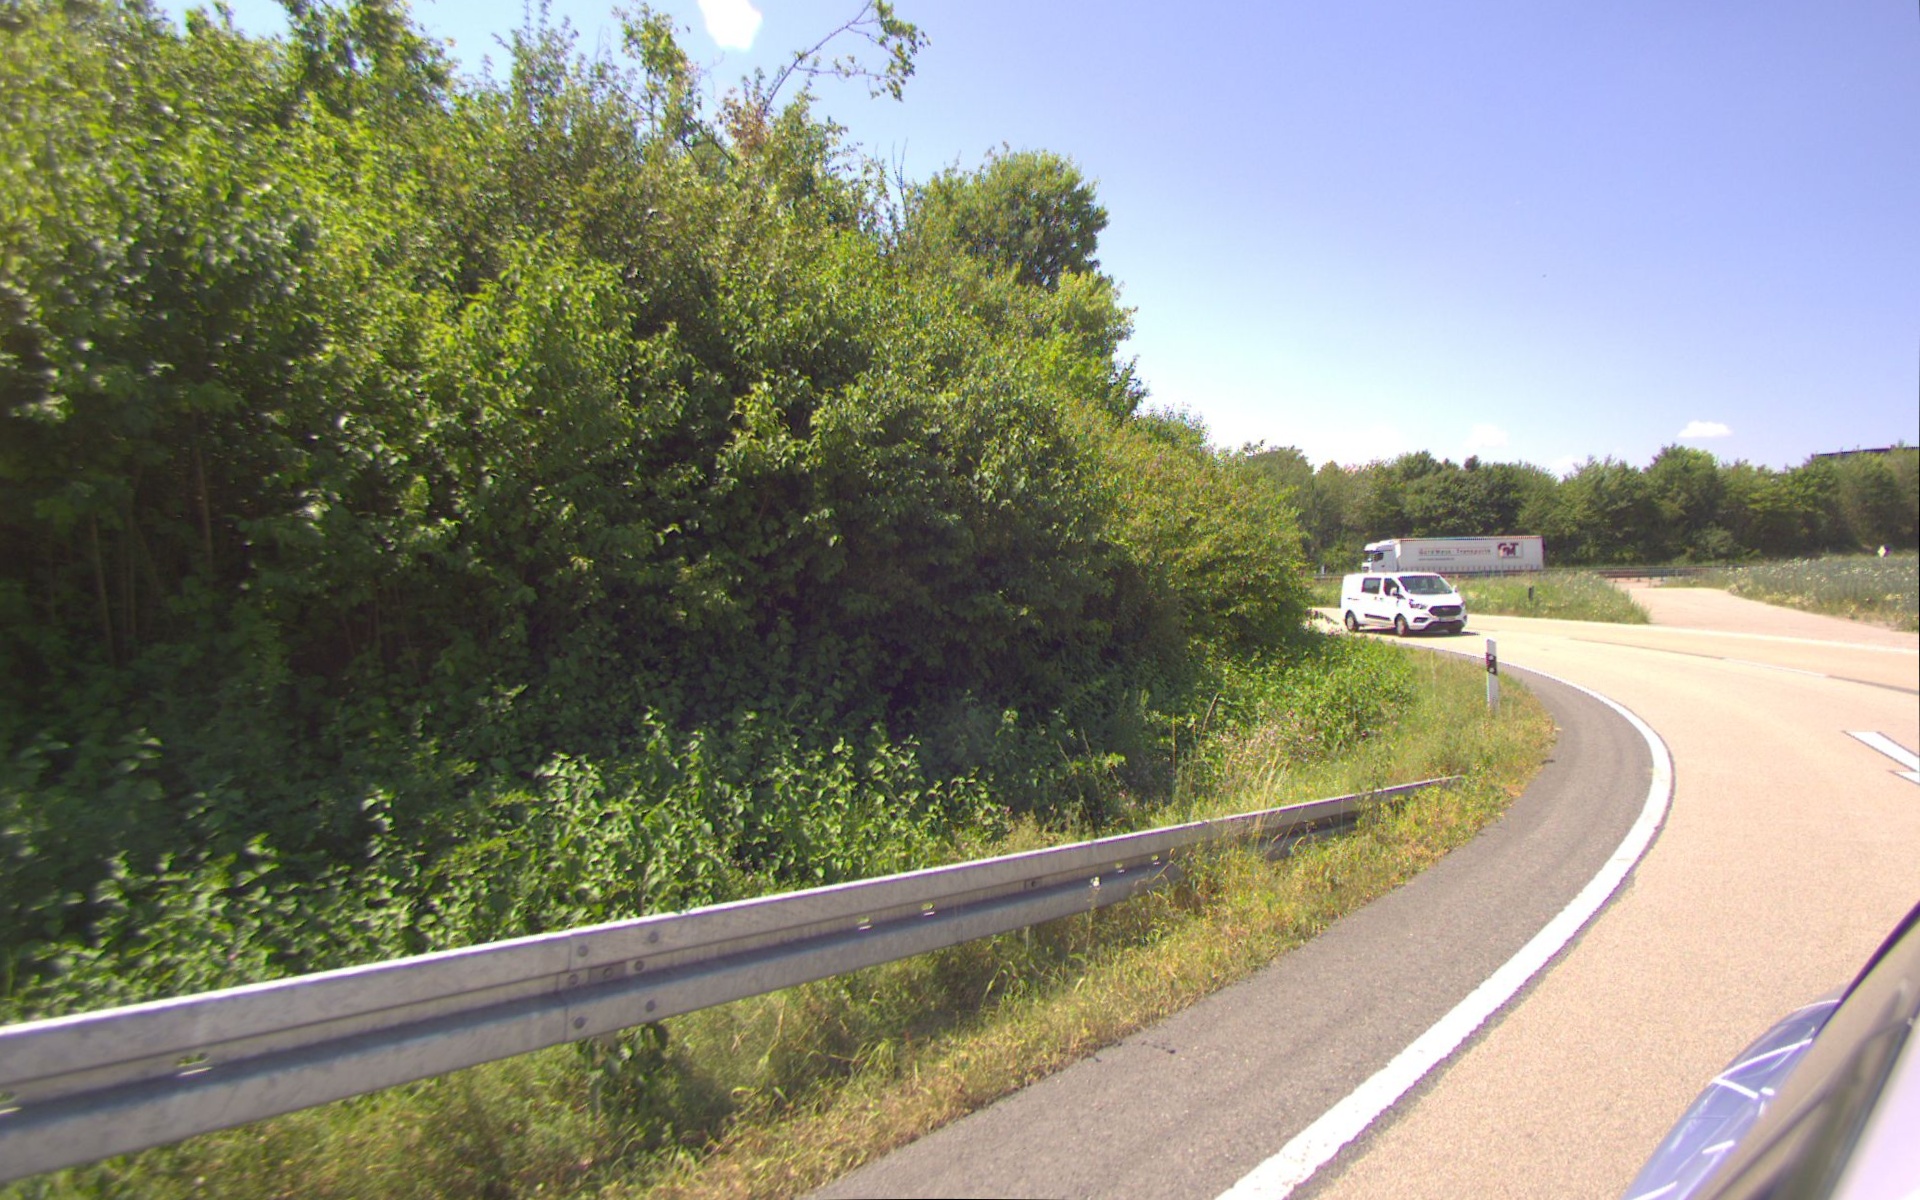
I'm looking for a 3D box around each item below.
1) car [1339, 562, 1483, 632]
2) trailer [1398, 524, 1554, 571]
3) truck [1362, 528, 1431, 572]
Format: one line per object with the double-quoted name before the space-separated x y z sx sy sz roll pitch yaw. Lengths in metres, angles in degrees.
"car" 14.691 -0.129 33.345 2.022 2.038 5.047 -3 1 -5
"trailer" 49.004 -4.971 96.325 13.032 3.988 2.920 -2 1 3
"truck" 41.654 -4.736 96.706 5.319 3.988 2.920 -2 1 3
